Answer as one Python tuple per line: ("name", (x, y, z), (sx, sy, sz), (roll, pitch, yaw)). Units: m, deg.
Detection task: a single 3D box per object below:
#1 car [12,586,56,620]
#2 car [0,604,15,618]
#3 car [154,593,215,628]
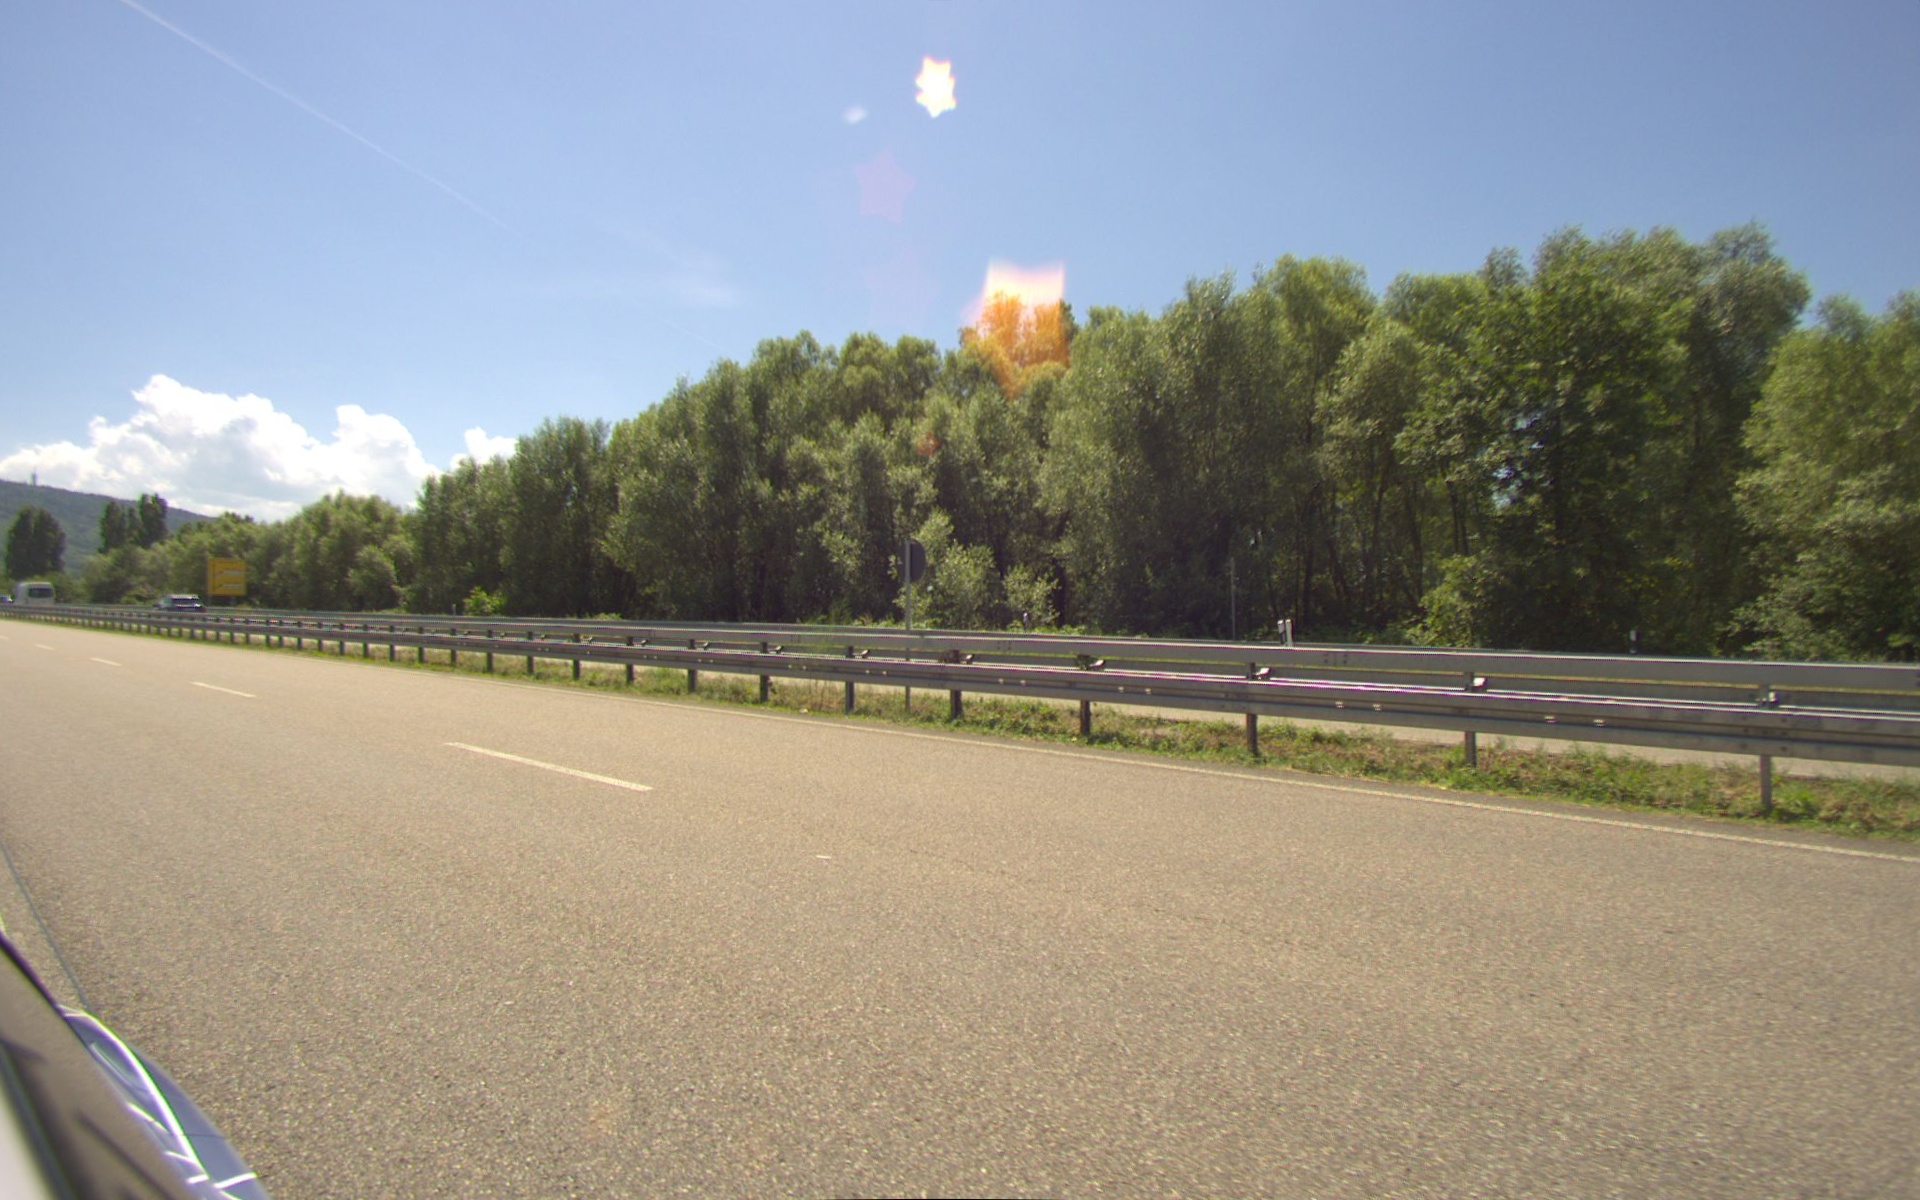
("car", (-77.217, 0.248, 84.368), (6.626, 2.703, 2.080), (0, 0, 42))
("car", (-105.483, 1.188, 111.232), (4.068, 1.563, 1.673), (0, 0, 37))
("car", (-42.416, 0.539, 55.333), (4.658, 1.844, 1.843), (0, 0, 42))
